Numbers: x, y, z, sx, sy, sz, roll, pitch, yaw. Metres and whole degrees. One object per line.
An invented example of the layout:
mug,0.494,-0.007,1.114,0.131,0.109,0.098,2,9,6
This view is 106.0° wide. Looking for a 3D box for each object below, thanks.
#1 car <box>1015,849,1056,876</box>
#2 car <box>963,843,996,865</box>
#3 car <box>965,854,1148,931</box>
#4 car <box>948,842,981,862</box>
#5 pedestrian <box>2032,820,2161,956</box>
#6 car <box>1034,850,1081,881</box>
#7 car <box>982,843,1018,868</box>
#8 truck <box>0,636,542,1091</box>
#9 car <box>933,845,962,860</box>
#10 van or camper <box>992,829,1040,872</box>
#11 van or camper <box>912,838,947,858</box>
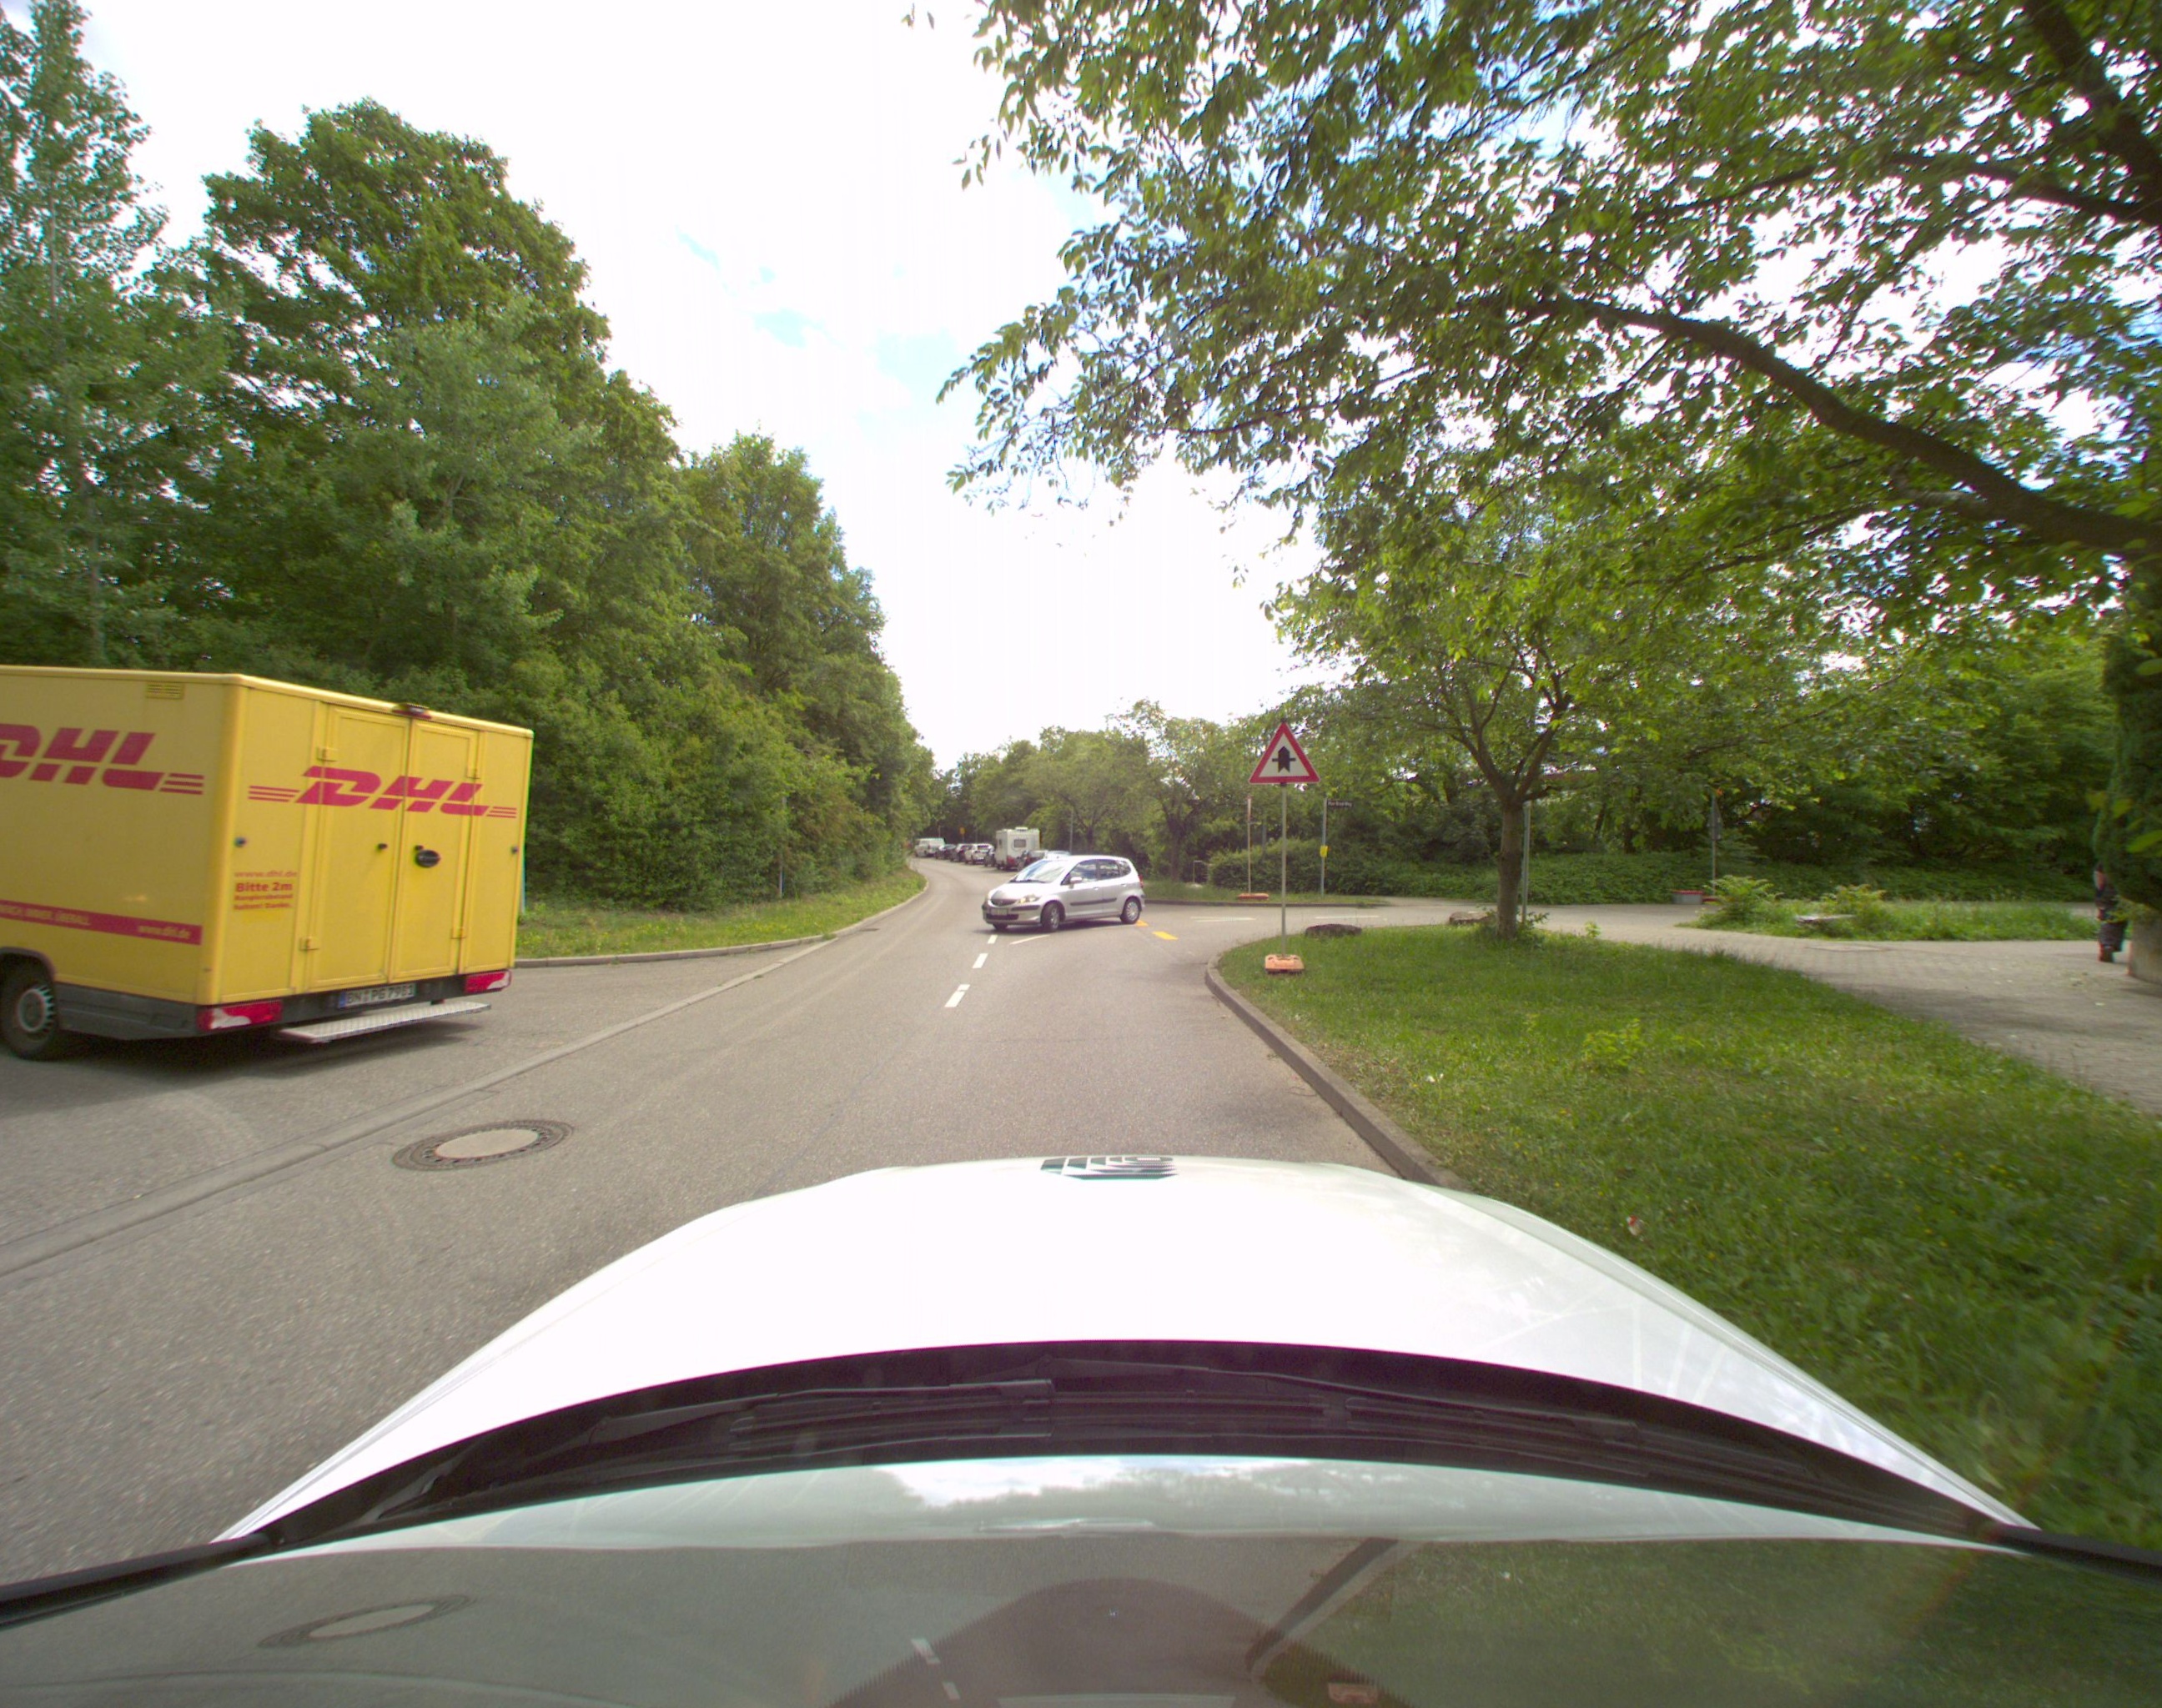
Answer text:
car,-2.795,0.479,49.279,1.732,1.519,3.870,-2,0,-15
car,-8.639,-0.032,69.297,1.877,1.689,4.550,0,1,-19
car,-0.443,0.739,17.306,1.824,1.456,3.674,-1,-1,44
car,-10.771,-0.211,74.849,2.002,1.626,4.247,-3,3,-22
pedestrian,13.458,0.437,10.774,0.829,1.737,0.785,0,-1,-1
car,-1.264,0.563,42.200,1.776,1.434,4.318,-1,1,-10
car,-6.239,0.089,62.562,1.717,1.591,3.974,-8,3,-19
truck,-8.254,-0.138,6.889,6.503,2.808,2.241,4,1,14
car,-13.279,-0.168,81.121,1.807,1.464,3.966,-1,1,-26
van or camper,-4.585,-0.281,56.706,2.336,2.869,6.120,0,1,-15
van or camper,-16.096,-0.706,86.248,2.006,1.919,5.217,-2,3,-29
